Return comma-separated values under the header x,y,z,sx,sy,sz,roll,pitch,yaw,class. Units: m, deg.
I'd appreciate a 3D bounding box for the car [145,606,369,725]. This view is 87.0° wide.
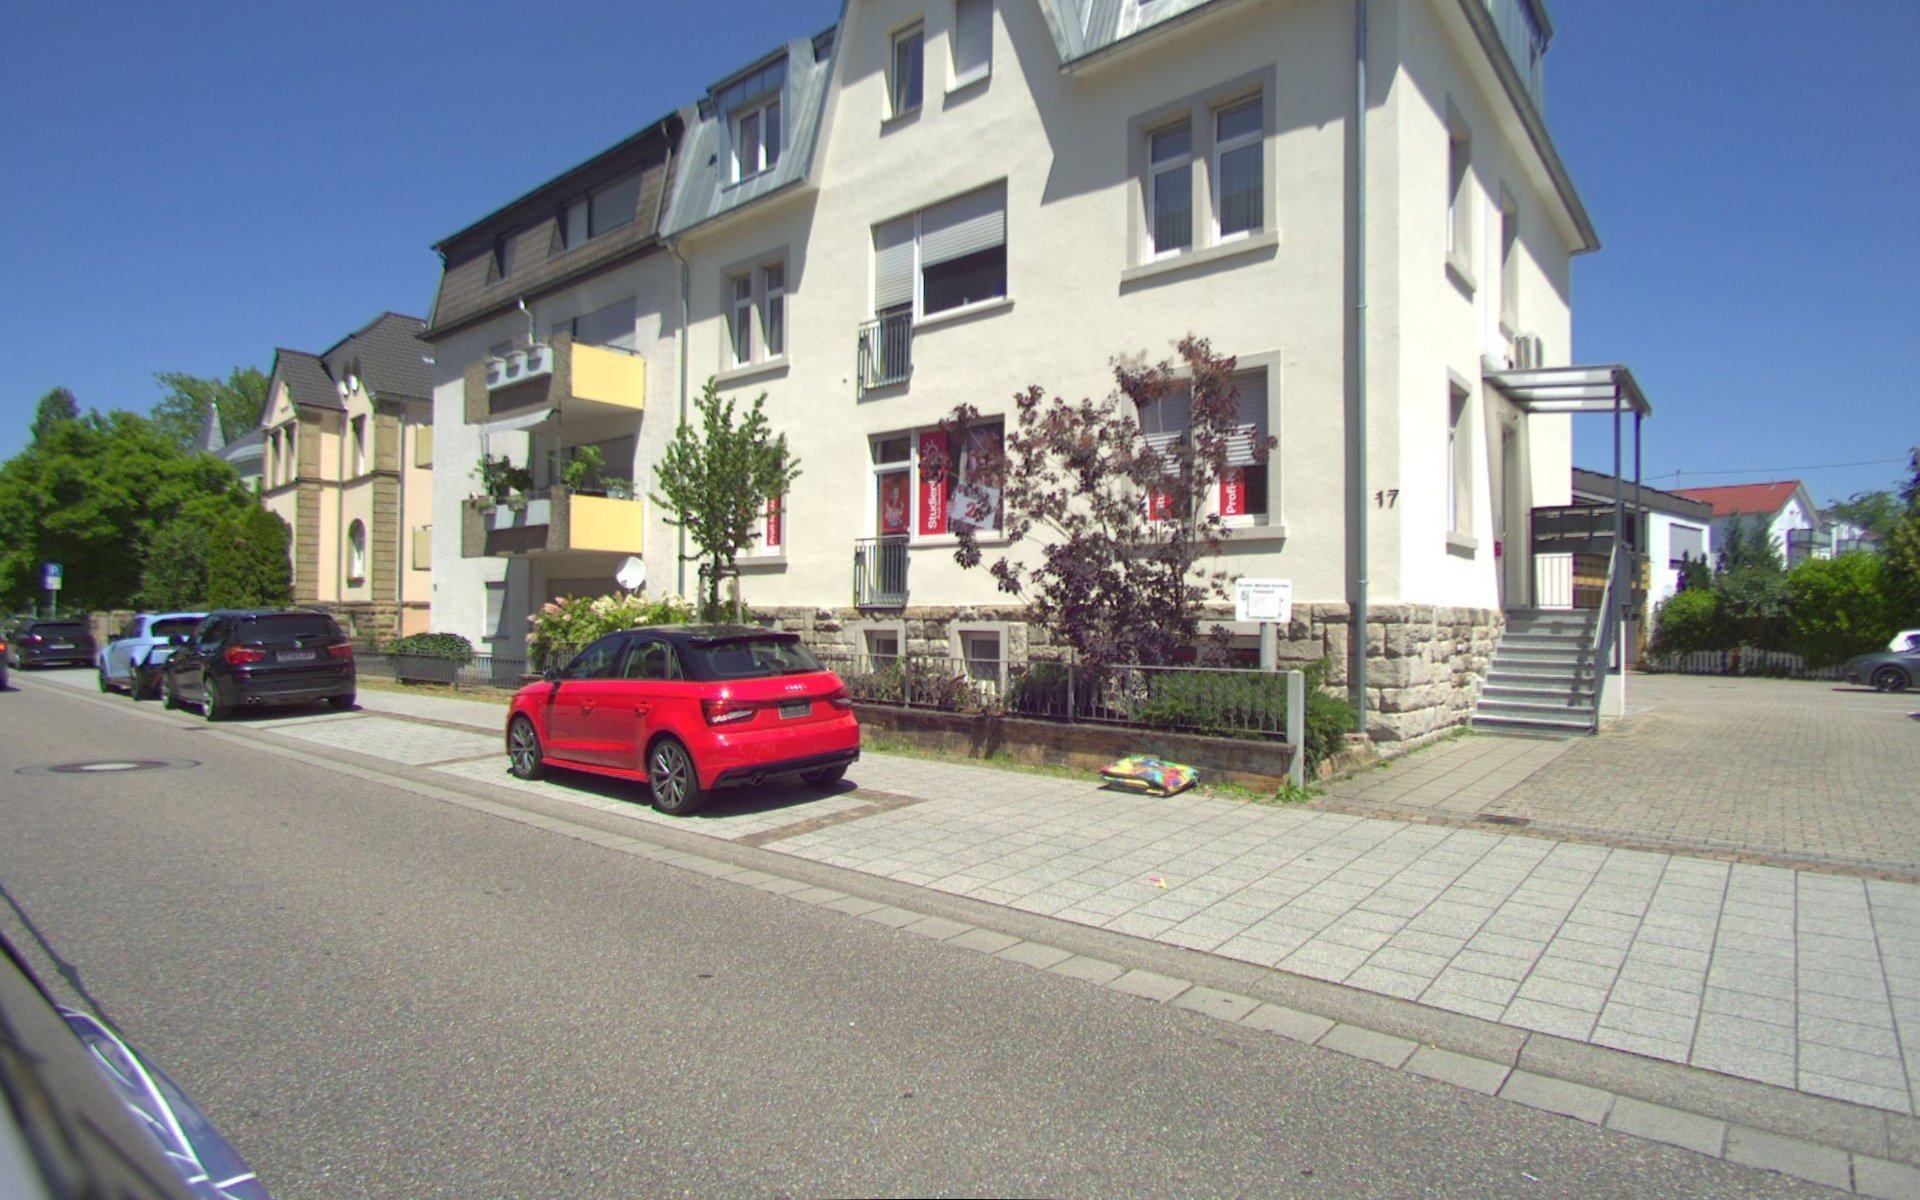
x,y,z,sx,sy,sz,roll,pitch,yaw,class
-11.358,0.933,16.239,4.433,1.598,1.900,-1,1,41,car

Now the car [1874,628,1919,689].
x,y,z,sx,sy,sz,roll,pitch,yaw,class
25.119,1.438,24.575,4.182,1.486,1.974,-1,-2,39,car

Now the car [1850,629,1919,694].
x,y,z,sx,sy,sz,roll,pitch,yaw,class
22.872,1.407,22.903,4.042,1.449,1.930,-1,-2,40,car

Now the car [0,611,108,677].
x,y,z,sx,sy,sz,roll,pitch,yaw,class
-26.328,1.211,29.346,4.286,1.703,1.900,-1,1,42,car

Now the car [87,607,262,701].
x,y,z,sx,sy,sz,roll,pitch,yaw,class
-15.491,0.981,19.890,4.285,1.598,1.900,-1,1,41,car

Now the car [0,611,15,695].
x,y,z,sx,sy,sz,roll,pitch,yaw,class
-21.279,1.045,21.041,4.285,1.690,1.900,-1,-2,41,car

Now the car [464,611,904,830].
x,y,z,sx,sy,sz,roll,pitch,yaw,class
-2.634,0.865,9.074,4.258,1.463,1.715,-1,1,41,car
